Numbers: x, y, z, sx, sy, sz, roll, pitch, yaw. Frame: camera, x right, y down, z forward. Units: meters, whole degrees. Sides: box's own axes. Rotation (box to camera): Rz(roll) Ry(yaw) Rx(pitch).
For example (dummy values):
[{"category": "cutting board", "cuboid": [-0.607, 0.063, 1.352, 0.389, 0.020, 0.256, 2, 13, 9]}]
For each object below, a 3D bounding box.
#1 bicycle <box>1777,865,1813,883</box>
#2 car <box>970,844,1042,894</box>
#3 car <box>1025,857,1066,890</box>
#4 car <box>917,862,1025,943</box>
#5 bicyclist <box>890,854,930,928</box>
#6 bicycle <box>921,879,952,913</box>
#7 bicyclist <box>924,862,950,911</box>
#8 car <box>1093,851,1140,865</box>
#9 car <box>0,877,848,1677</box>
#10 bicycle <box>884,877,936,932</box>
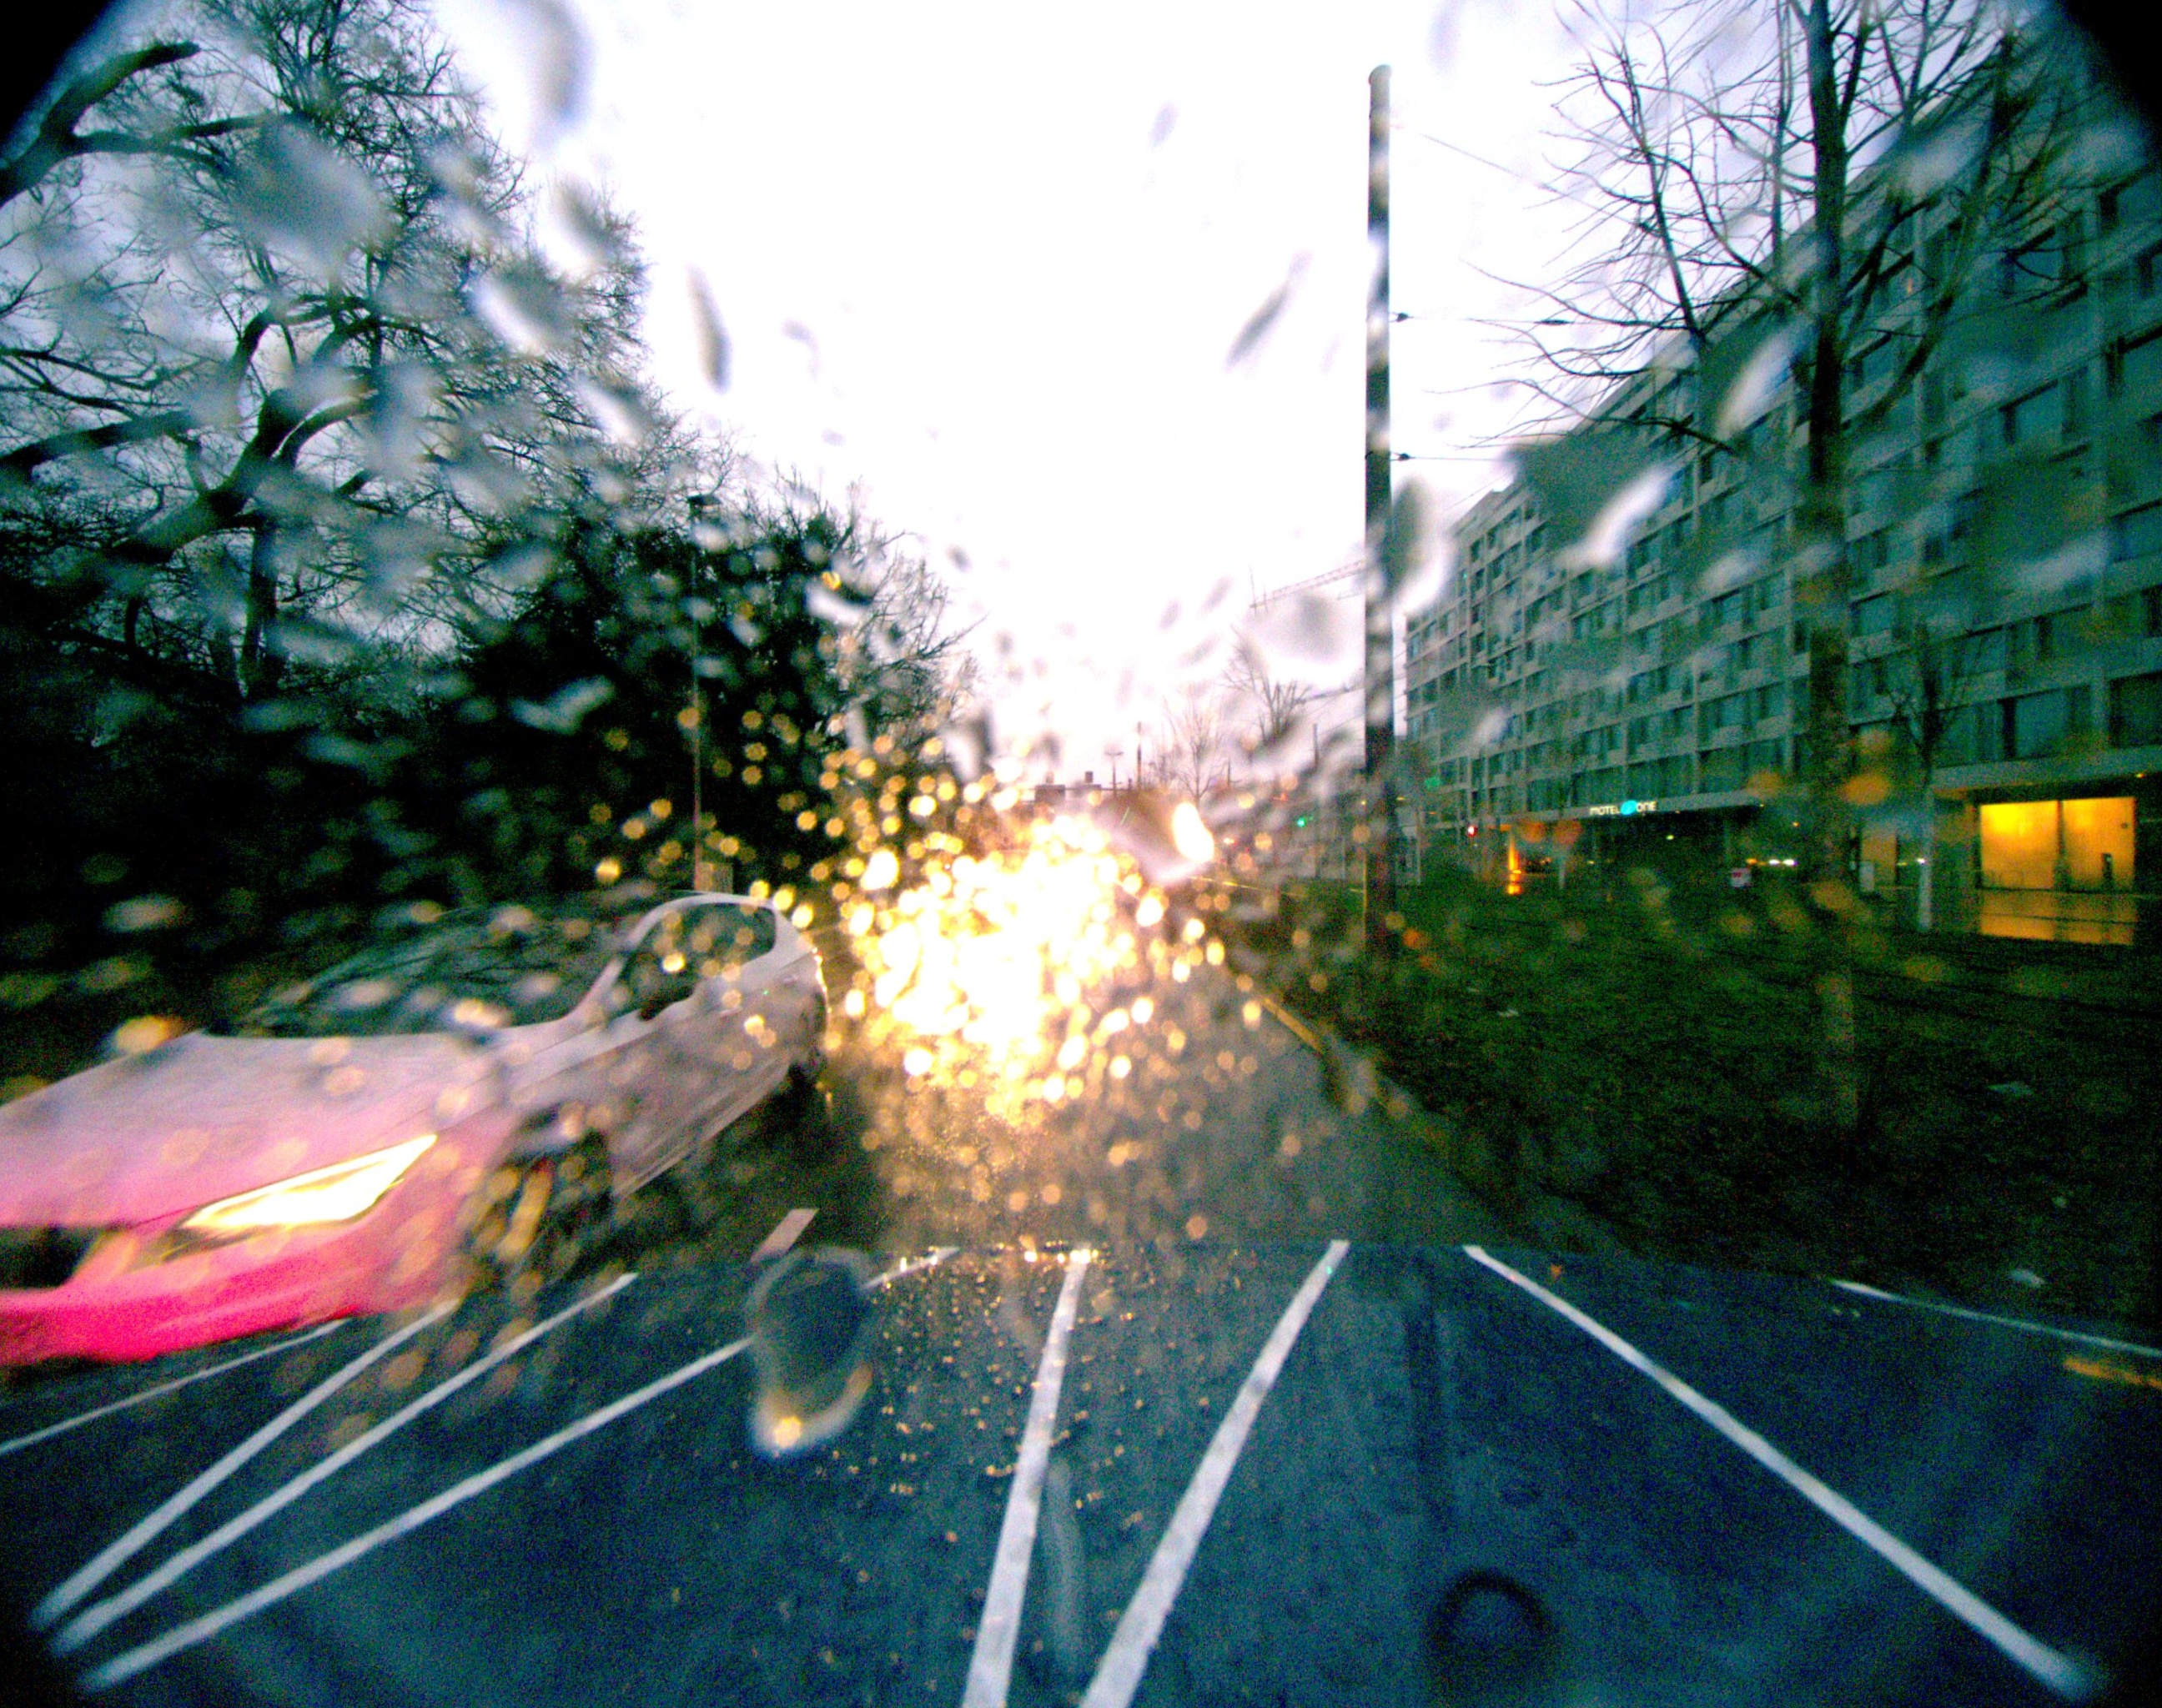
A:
[{"category": "bicycle", "cuboid": [36.311, 1.001, 38.640, 1.349, 0.849, 0.465, -2, 1, -1]}, {"category": "car", "cuboid": [-2.660, 0.479, 27.972, 2.073, 1.618, 4.268, -2, 0, 1]}, {"category": "car", "cuboid": [-1.916, 1.029, 42.449, 1.998, 1.618, 4.268, -2, 0, 1]}, {"category": "car", "cuboid": [-2.576, 1.101, 18.856, 2.073, 1.618, 4.267, -2, 0, -1]}, {"category": "bicyclist", "cuboid": [-5.310, 1.121, 23.616, 0.968, 2.210, 0.935, -2, 1, -3]}, {"category": "bicycle", "cuboid": [-5.020, 1.446, 26.552, 0.691, 1.036, 1.721, -2, 1, 1]}, {"category": "bicyclist", "cuboid": [-5.029, 1.130, 26.562, 0.691, 1.675, 0.593, -2, 1, 1]}, {"category": "car", "cuboid": [4.137, 0.463, 89.113, 5.048, 1.659, 2.084, 0, 0, -20]}, {"category": "car", "cuboid": [-2.756, 0.954, 3.680, 1.886, 1.552, 4.171, 0, 0, 1]}, {"category": "bicycle", "cuboid": [-5.281, 1.510, 23.752, 0.968, 1.442, 3.388, -2, 1, -3]}]
